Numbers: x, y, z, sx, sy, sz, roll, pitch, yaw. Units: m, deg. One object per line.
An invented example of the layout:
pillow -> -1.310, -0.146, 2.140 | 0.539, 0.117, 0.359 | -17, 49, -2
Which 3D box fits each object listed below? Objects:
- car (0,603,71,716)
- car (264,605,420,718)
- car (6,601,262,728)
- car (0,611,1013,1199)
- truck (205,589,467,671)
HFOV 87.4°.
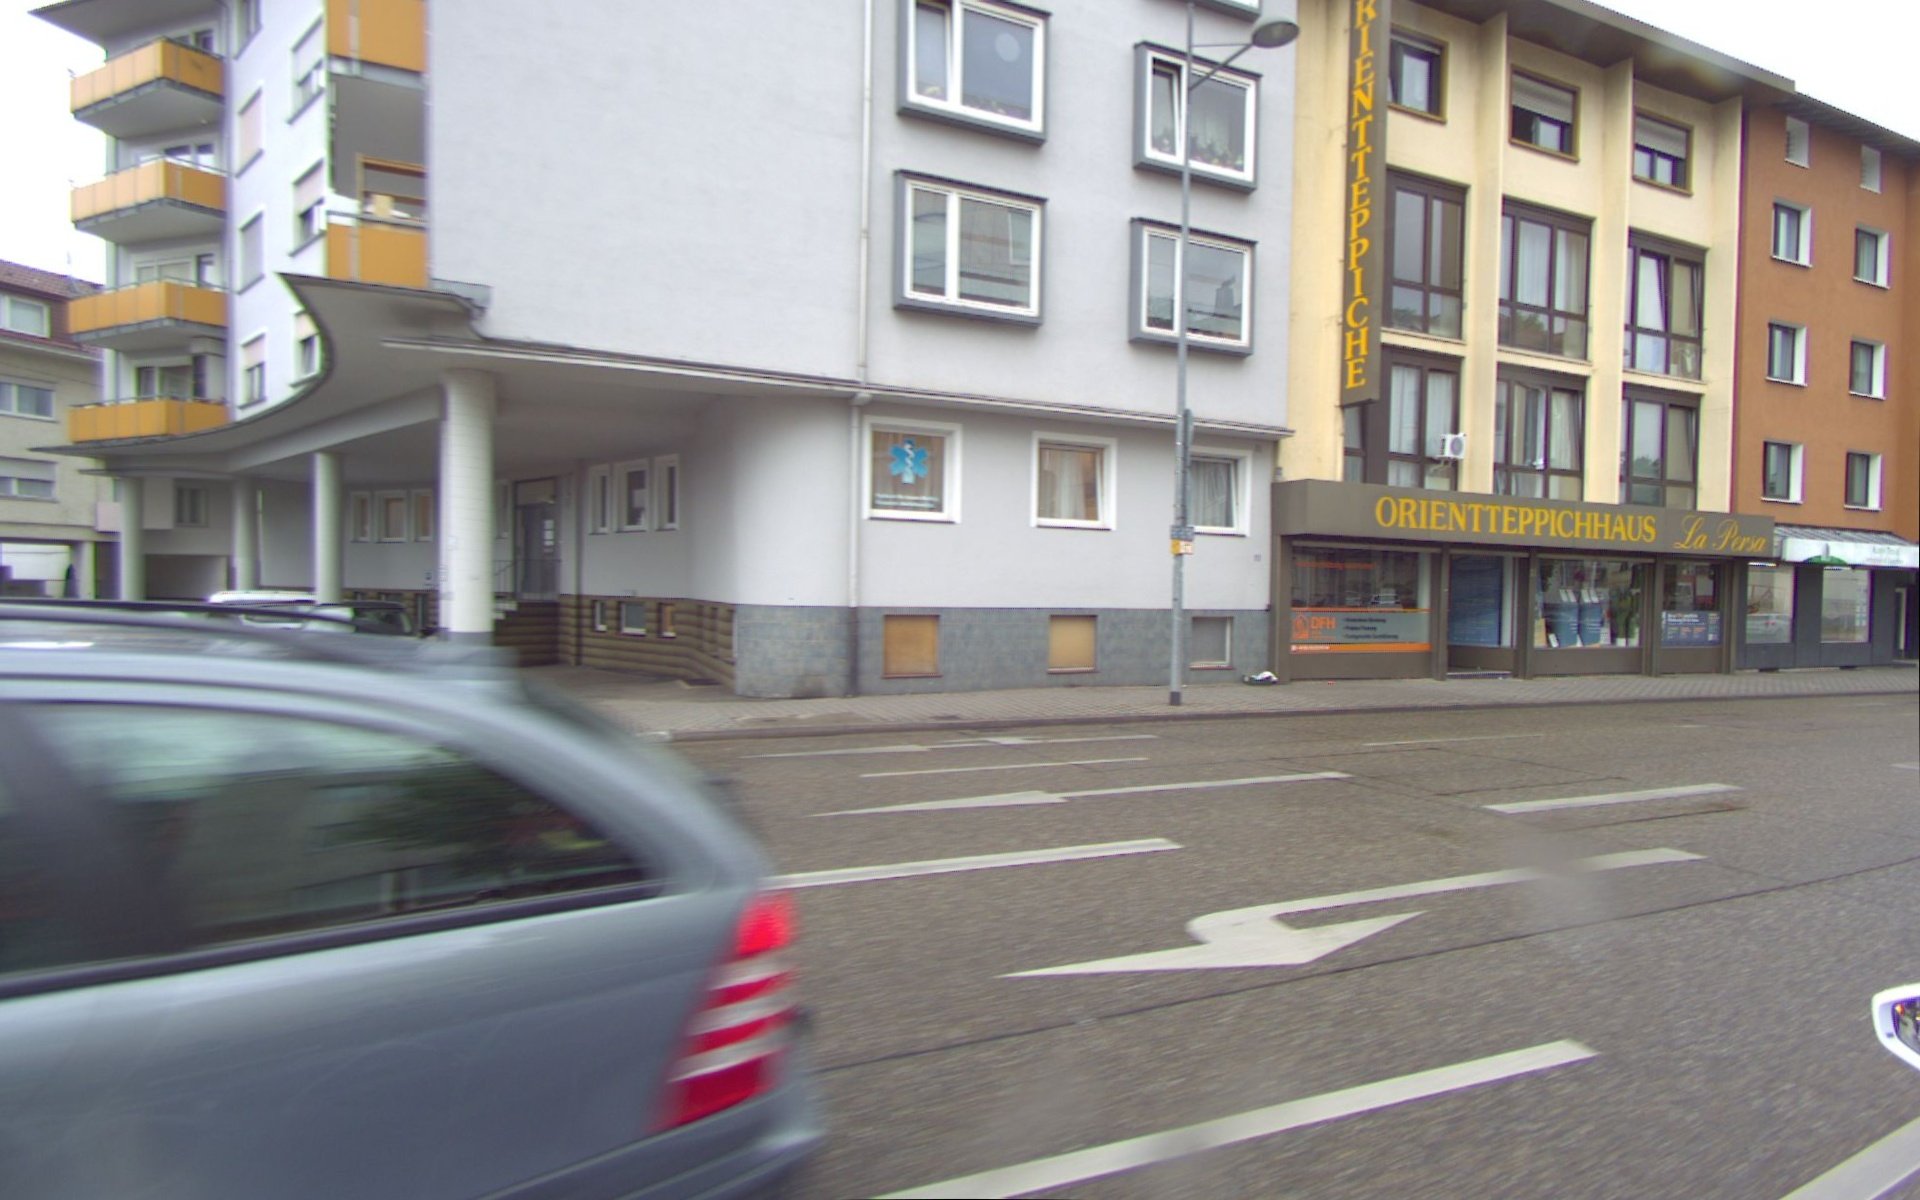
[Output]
car -> -13.076, 0.732, 12.542 | 1.772, 1.439, 3.804 | 2, -3, -23
car -> -8.520, 0.814, 14.106 | 1.476, 1.356, 3.612 | 1, -2, -26
car -> -10.758, 0.802, 13.406 | 1.615, 1.439, 3.749 | 0, -2, -23
car -> -2.233, 0.751, 1.501 | 4.356, 1.459, 1.726 | 1, 0, -27
truck -> -15.616, 0.819, 25.527 | 5.339, 1.894, 1.789 | 2, -3, -21
